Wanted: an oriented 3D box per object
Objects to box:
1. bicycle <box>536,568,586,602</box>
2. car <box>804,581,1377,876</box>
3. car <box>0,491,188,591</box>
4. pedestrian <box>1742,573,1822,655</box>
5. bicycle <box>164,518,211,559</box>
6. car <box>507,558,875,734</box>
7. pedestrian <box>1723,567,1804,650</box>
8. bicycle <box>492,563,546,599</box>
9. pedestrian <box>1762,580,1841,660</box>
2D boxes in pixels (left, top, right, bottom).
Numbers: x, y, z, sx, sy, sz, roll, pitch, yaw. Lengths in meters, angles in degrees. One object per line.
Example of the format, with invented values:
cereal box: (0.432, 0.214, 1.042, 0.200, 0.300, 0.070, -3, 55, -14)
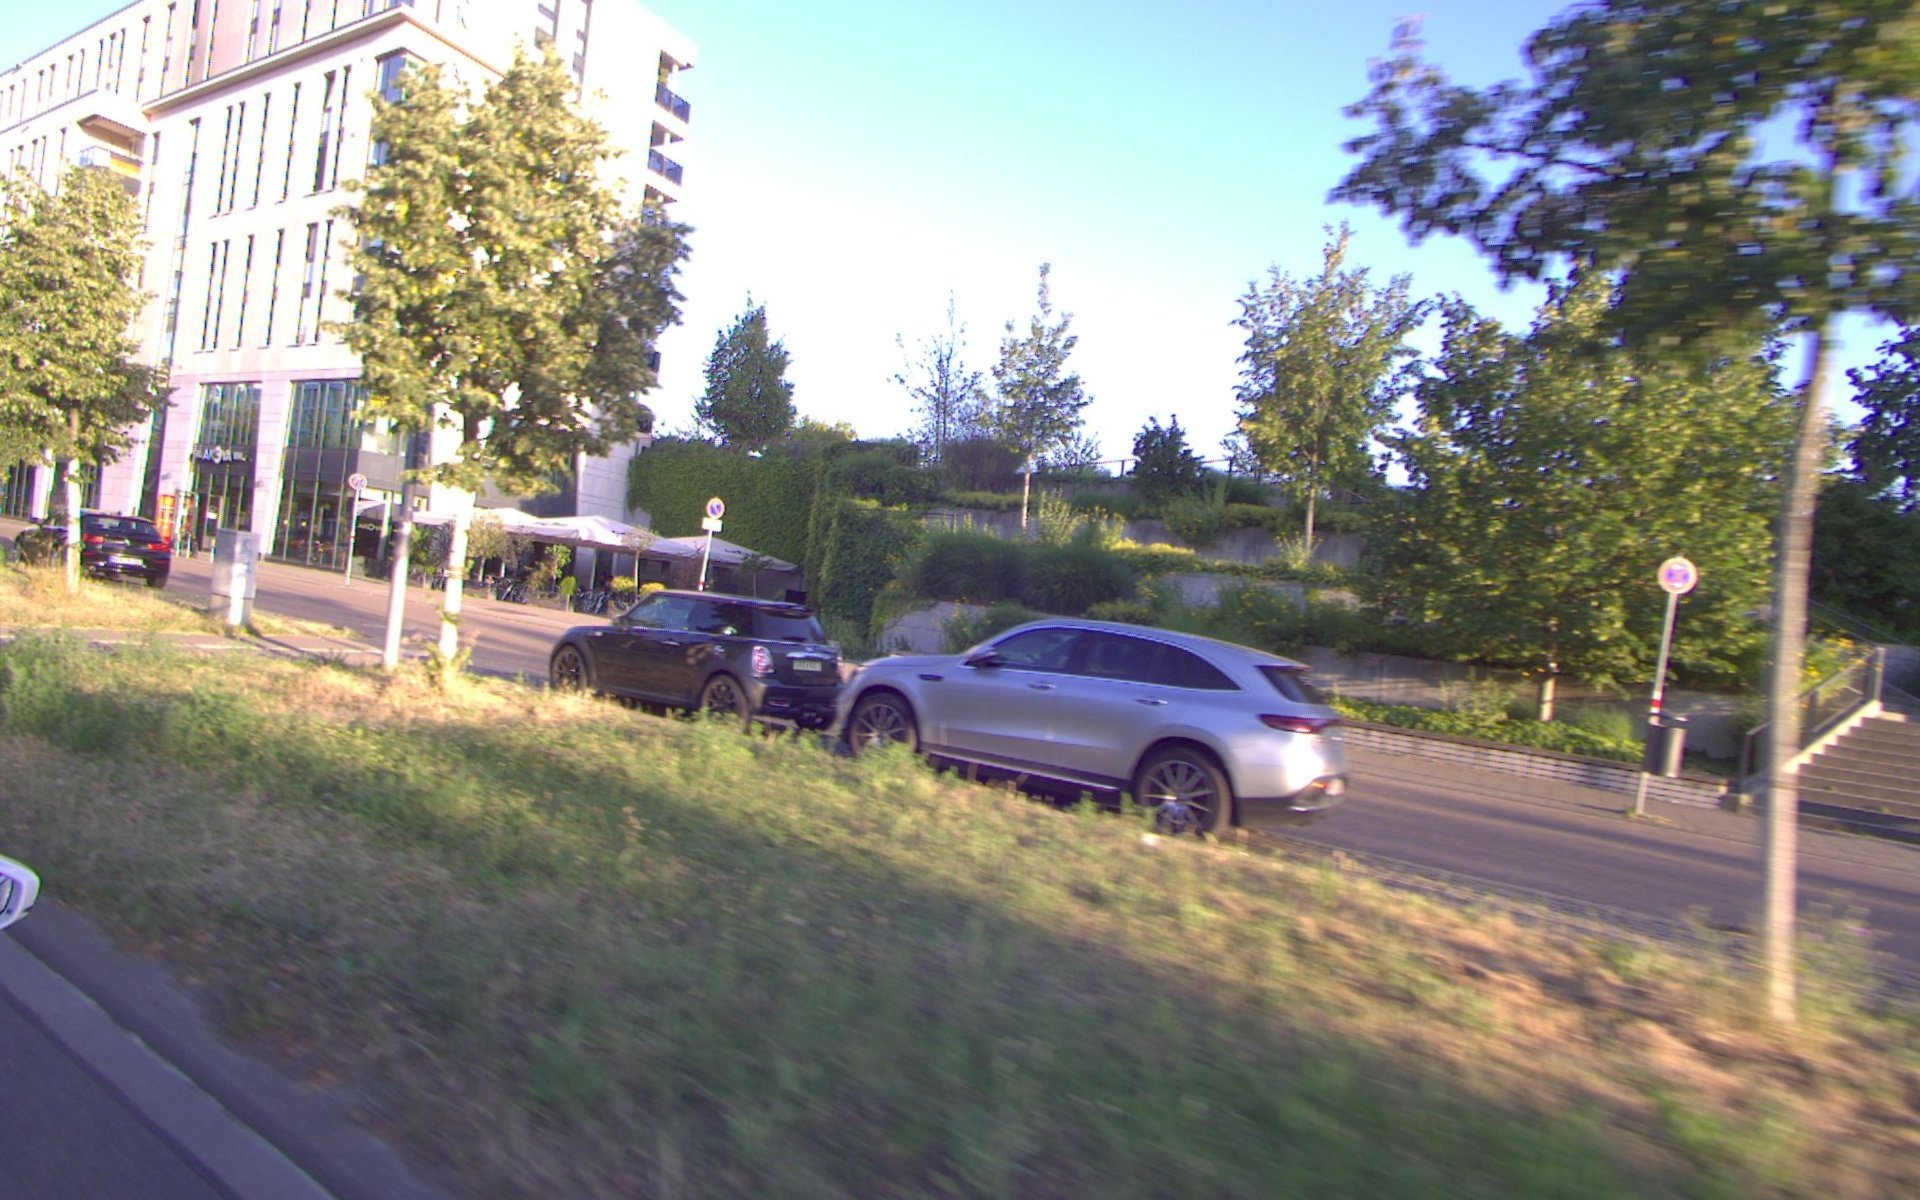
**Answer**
bicycle: (-15.247, -0.576, 38.522, 0.491, 1.121, 1.798, 7, 0, 28)
car: (1.055, 0.966, 9.012, 4.598, 1.651, 1.812, 7, -2, 31)
car: (-17.983, -1.239, 20.695, 4.295, 1.519, 1.811, 7, -1, 31)
pedestrian: (15.289, 0.255, 18.715, 0.662, 1.398, 0.821, 8, 0, -27)
bicycle: (-26.913, -2.148, 35.041, 1.642, 1.246, 0.618, 7, 0, 30)
car: (-3.163, 0.493, 11.643, 3.933, 1.414, 1.753, 7, -1, 31)
pedestrian: (14.609, 0.147, 18.304, 0.662, 1.397, 0.821, 8, -1, -27)
bicycle: (-16.062, -0.692, 36.676, 0.491, 1.121, 1.798, 7, 0, 28)
pedestrian: (15.913, 0.369, 19.037, 0.662, 1.397, 0.821, 8, -1, -27)
